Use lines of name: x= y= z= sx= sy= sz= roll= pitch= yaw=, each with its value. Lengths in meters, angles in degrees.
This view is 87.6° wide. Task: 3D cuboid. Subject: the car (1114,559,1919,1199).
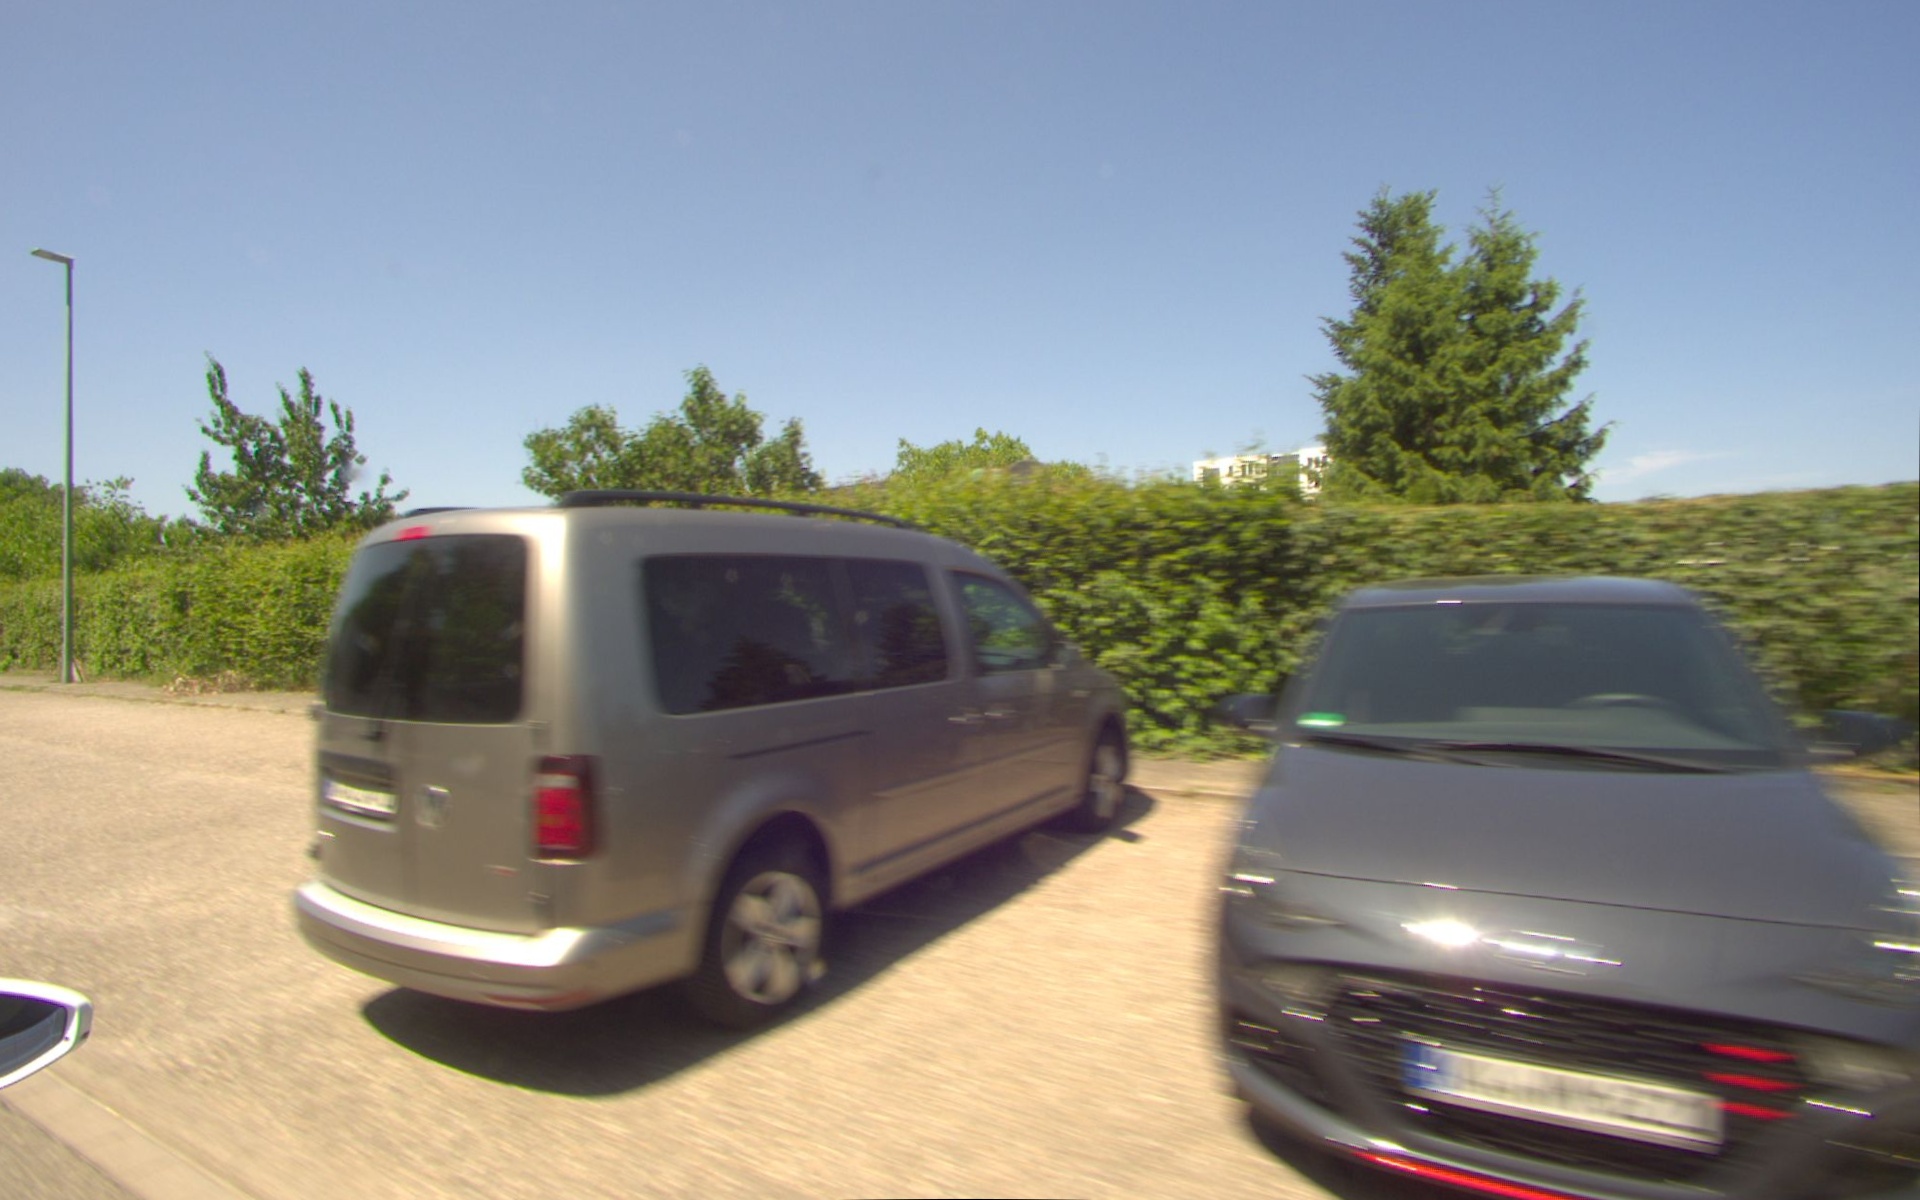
car: x=1.981 y=0.646 z=3.557 sx=1.812 sy=1.522 sz=3.572 roll=0 pitch=2 yaw=27

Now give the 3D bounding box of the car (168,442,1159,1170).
car: x=-0.768 y=0.462 z=5.041 sx=1.967 sy=1.874 sz=4.609 roll=0 pitch=2 yaw=32
